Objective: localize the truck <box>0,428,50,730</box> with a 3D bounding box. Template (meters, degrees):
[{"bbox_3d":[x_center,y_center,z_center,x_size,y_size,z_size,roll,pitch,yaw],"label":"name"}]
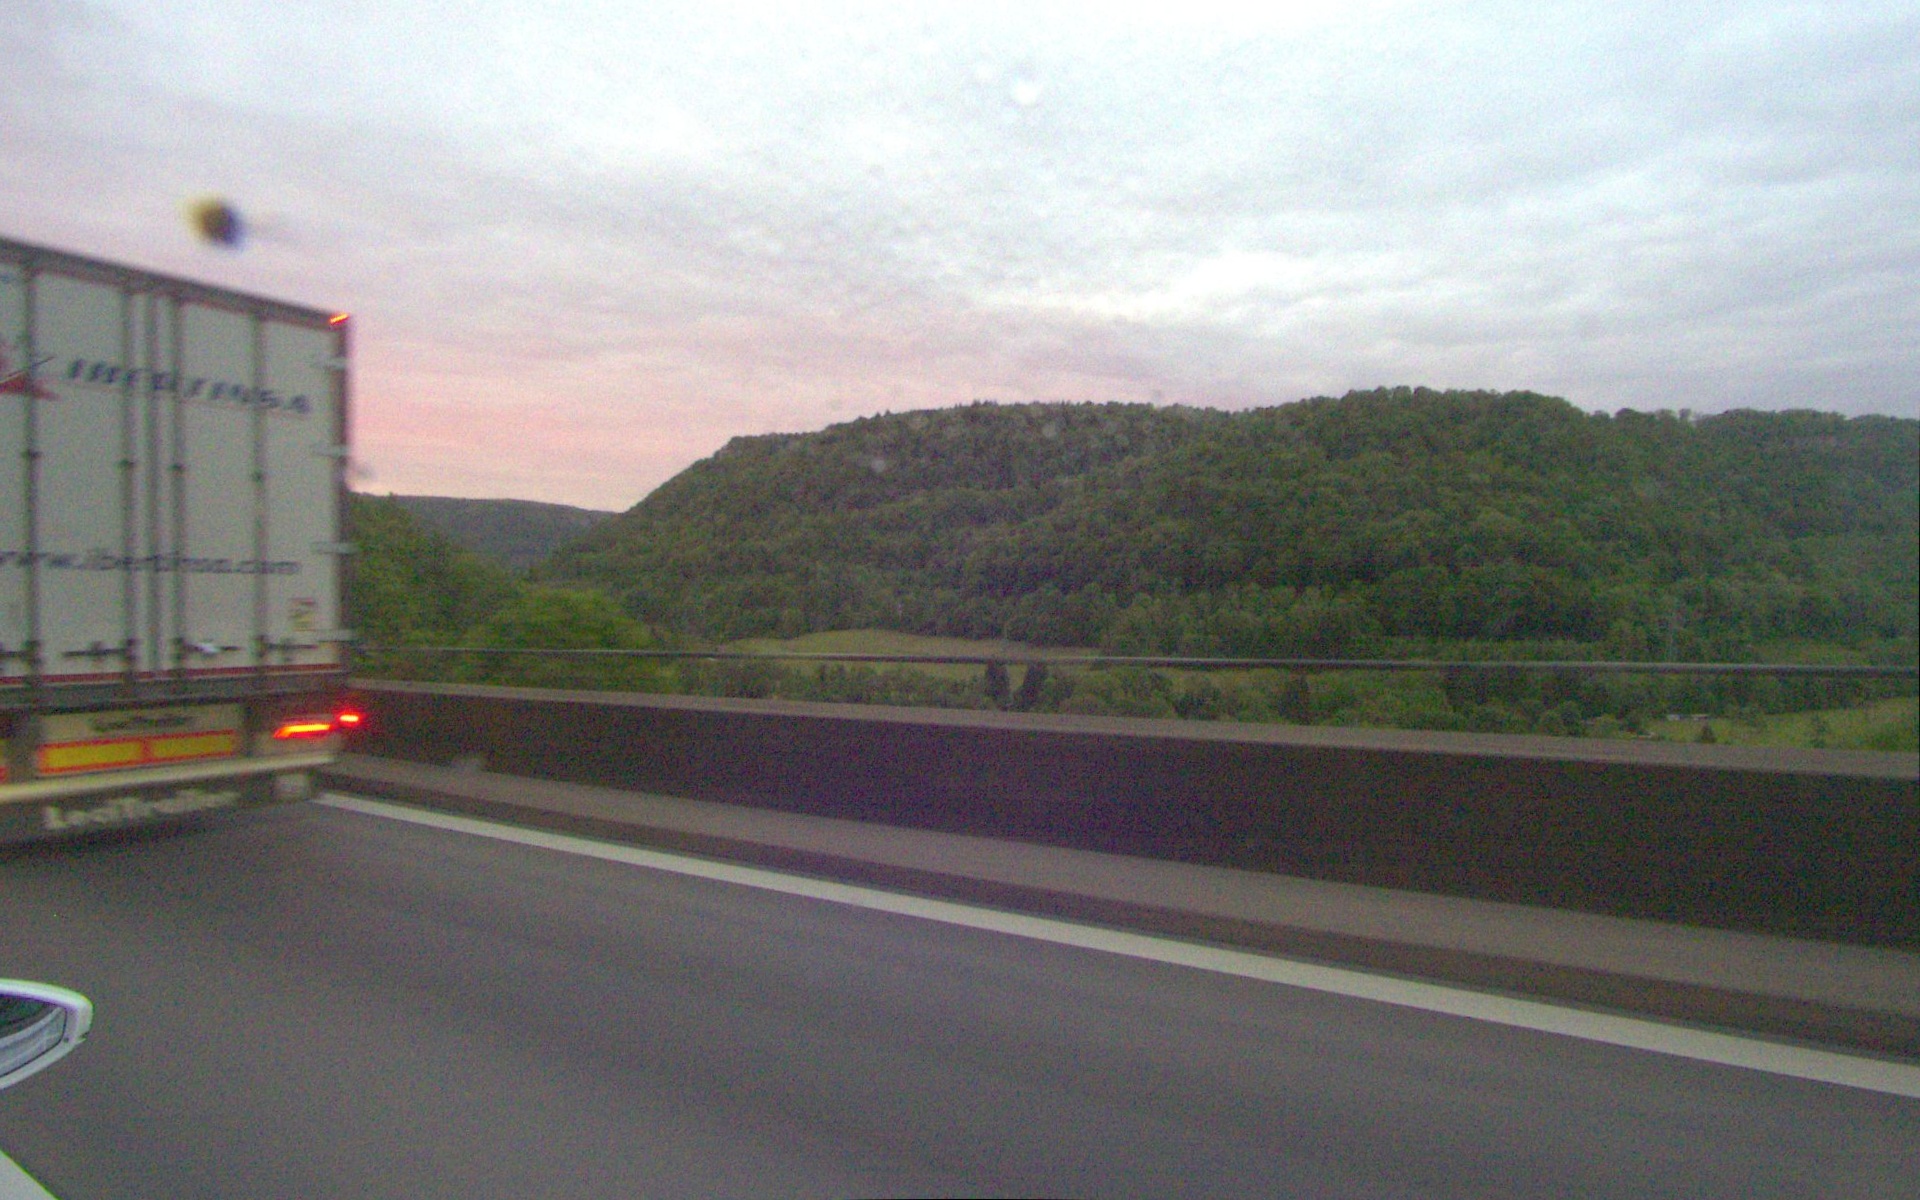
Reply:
[{"bbox_3d":[-16.502,-0.236,14.886,6.360,4.198,3.061,-1,-1,35],"label":"truck"}]

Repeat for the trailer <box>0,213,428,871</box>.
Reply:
[{"bbox_3d":[-11.034,-0.309,11.016,14.024,4.023,3.088,0,0,35],"label":"trailer"}]
